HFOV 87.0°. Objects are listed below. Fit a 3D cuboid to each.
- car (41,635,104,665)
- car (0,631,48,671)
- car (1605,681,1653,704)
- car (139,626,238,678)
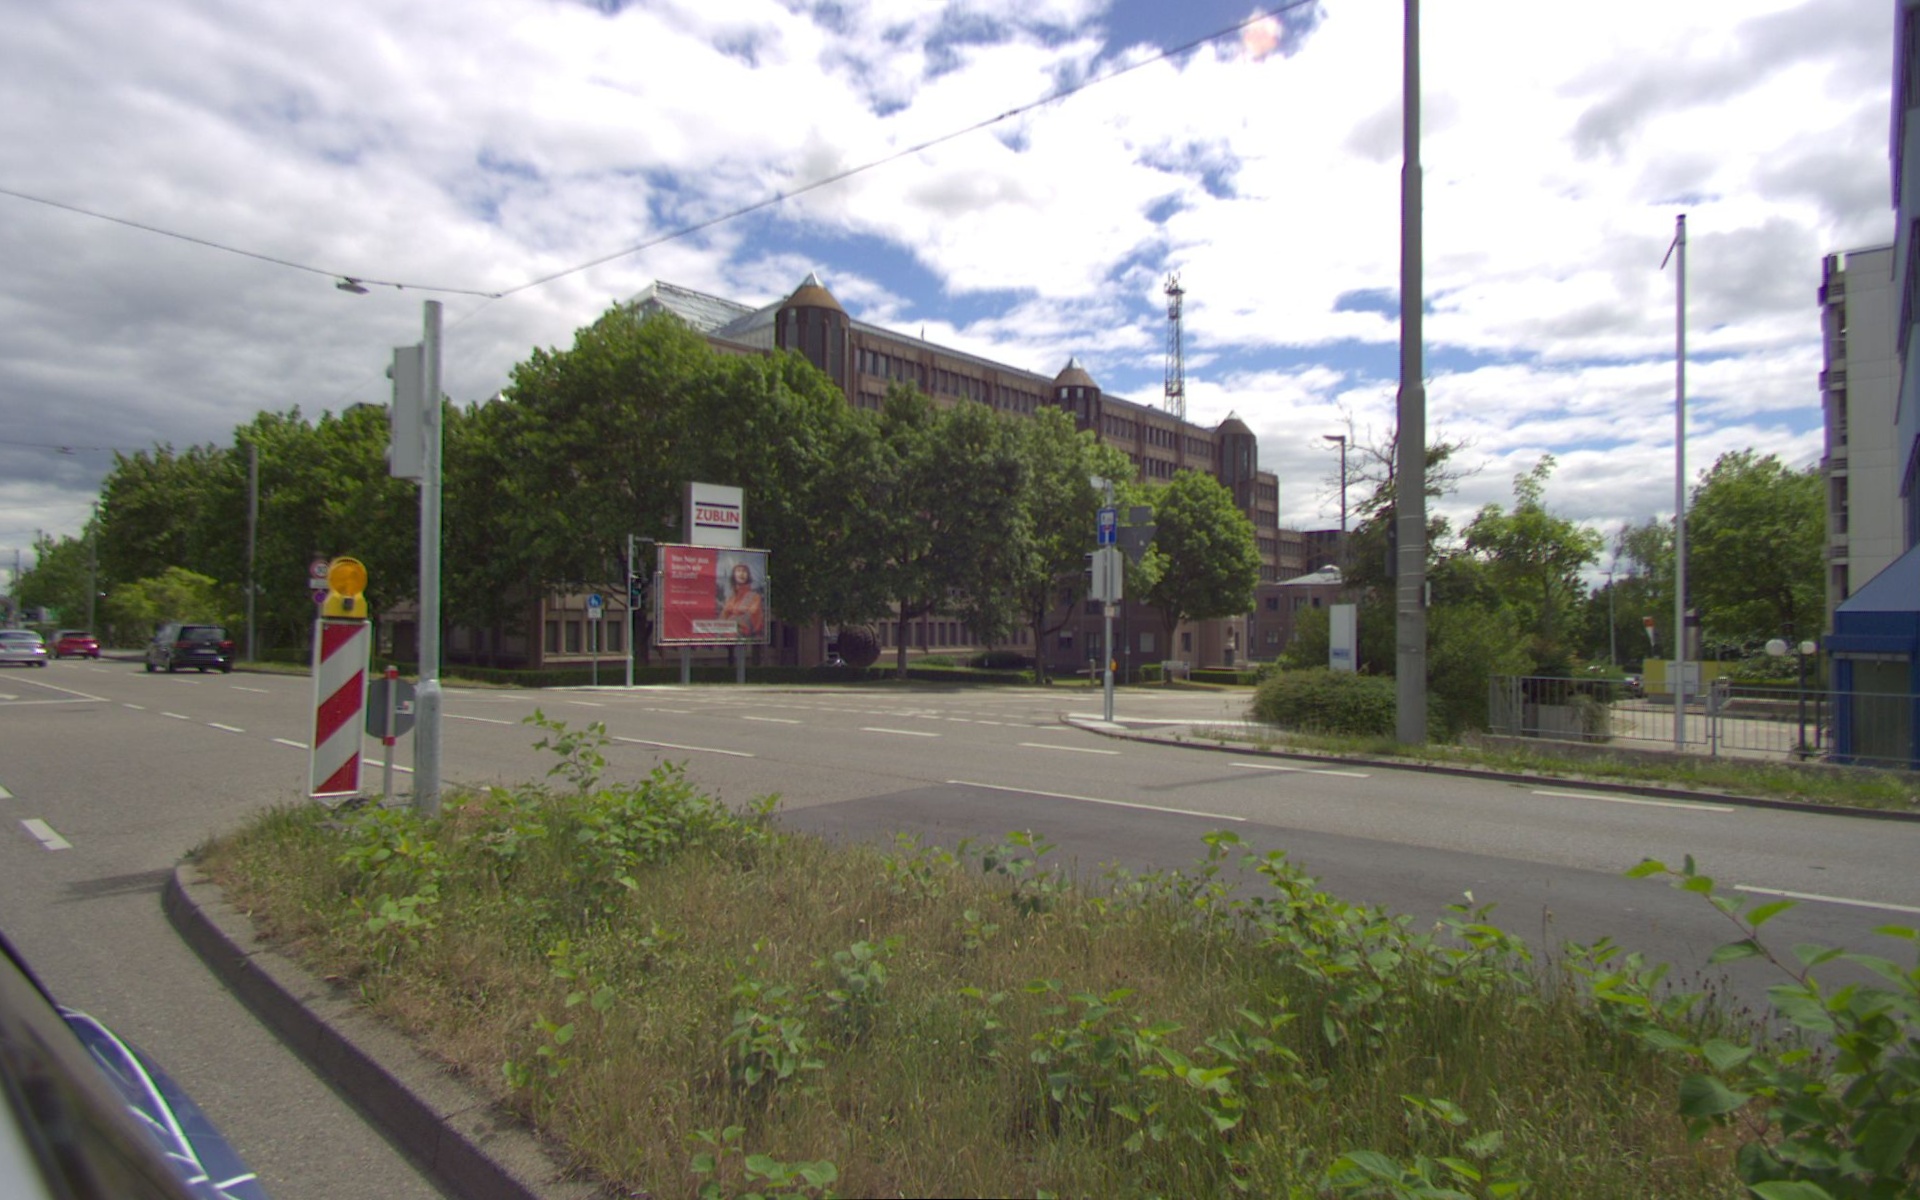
[{"bbox_3d":[-44.418,2.466,50.605,3.997,1.426,1.762,-1,-3,40],"label":"car"},{"bbox_3d":[-36.705,1.939,39.015,4.419,1.458,1.773,-1,-2,41],"label":"car"},{"bbox_3d":[42.640,5.896,64.485,2.000,1.340,3.602,-2,-5,43],"label":"car"},{"bbox_3d":[-27.250,1.782,35.690,4.760,1.715,1.972,-2,-2,43],"label":"car"}]
